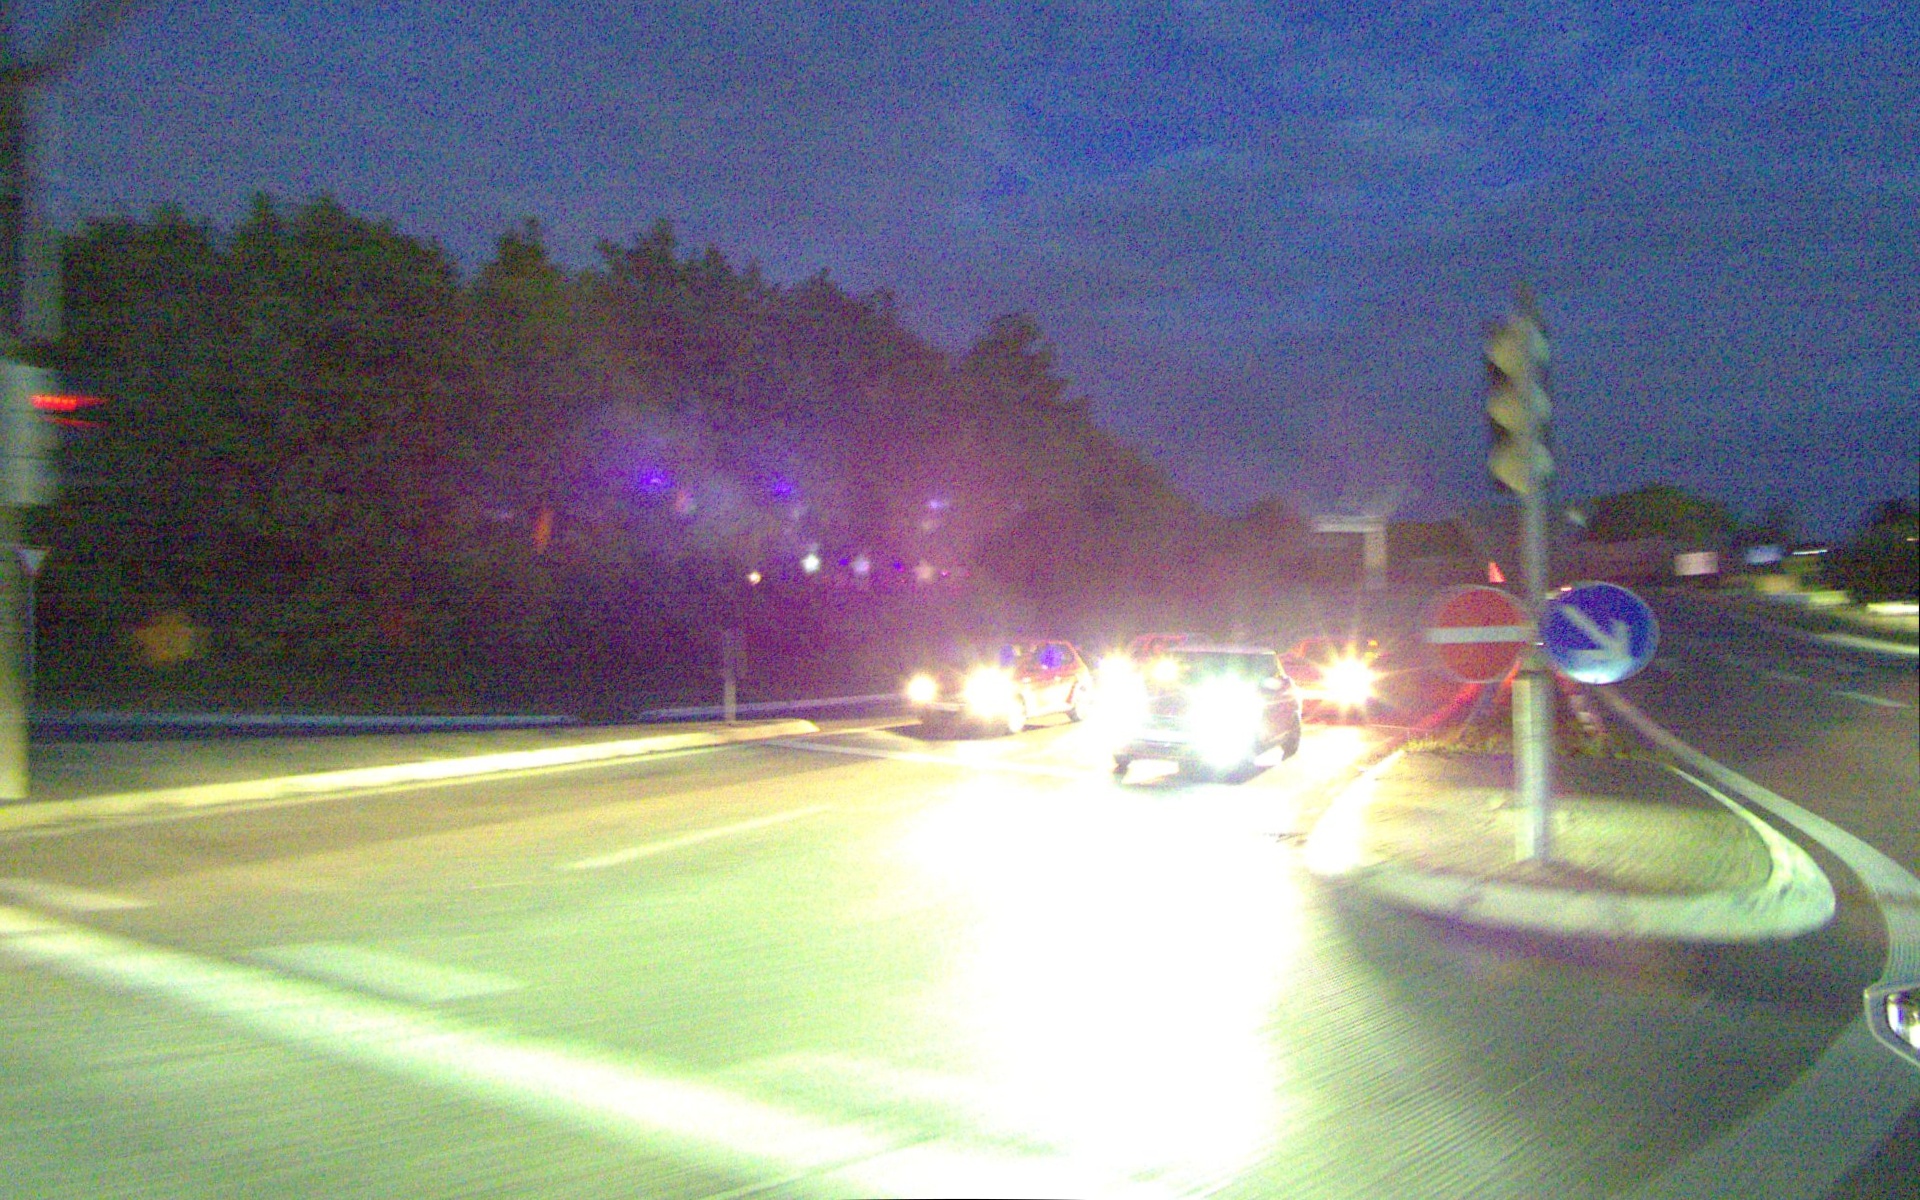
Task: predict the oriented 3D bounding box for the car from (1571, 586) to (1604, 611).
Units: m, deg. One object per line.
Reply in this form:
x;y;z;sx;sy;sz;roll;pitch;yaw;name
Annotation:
51.763;-0.109;82.894;1.963;2.040;3.994;0;0;27;car

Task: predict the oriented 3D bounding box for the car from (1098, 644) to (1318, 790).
3.258;1.321;12.634;1.674;1.494;3.863;0;-2;30;car

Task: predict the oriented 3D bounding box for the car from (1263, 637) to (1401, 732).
7.139;1.503;19.034;1.686;1.463;3.975;-1;-1;32;car

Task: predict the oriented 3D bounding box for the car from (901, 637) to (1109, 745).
0.877;1.396;16.655;1.729;1.480;3.991;0;-1;32;car

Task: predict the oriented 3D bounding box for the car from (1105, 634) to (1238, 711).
4.779;1.541;22.325;1.660;1.479;3.803;-2;-2;32;car
